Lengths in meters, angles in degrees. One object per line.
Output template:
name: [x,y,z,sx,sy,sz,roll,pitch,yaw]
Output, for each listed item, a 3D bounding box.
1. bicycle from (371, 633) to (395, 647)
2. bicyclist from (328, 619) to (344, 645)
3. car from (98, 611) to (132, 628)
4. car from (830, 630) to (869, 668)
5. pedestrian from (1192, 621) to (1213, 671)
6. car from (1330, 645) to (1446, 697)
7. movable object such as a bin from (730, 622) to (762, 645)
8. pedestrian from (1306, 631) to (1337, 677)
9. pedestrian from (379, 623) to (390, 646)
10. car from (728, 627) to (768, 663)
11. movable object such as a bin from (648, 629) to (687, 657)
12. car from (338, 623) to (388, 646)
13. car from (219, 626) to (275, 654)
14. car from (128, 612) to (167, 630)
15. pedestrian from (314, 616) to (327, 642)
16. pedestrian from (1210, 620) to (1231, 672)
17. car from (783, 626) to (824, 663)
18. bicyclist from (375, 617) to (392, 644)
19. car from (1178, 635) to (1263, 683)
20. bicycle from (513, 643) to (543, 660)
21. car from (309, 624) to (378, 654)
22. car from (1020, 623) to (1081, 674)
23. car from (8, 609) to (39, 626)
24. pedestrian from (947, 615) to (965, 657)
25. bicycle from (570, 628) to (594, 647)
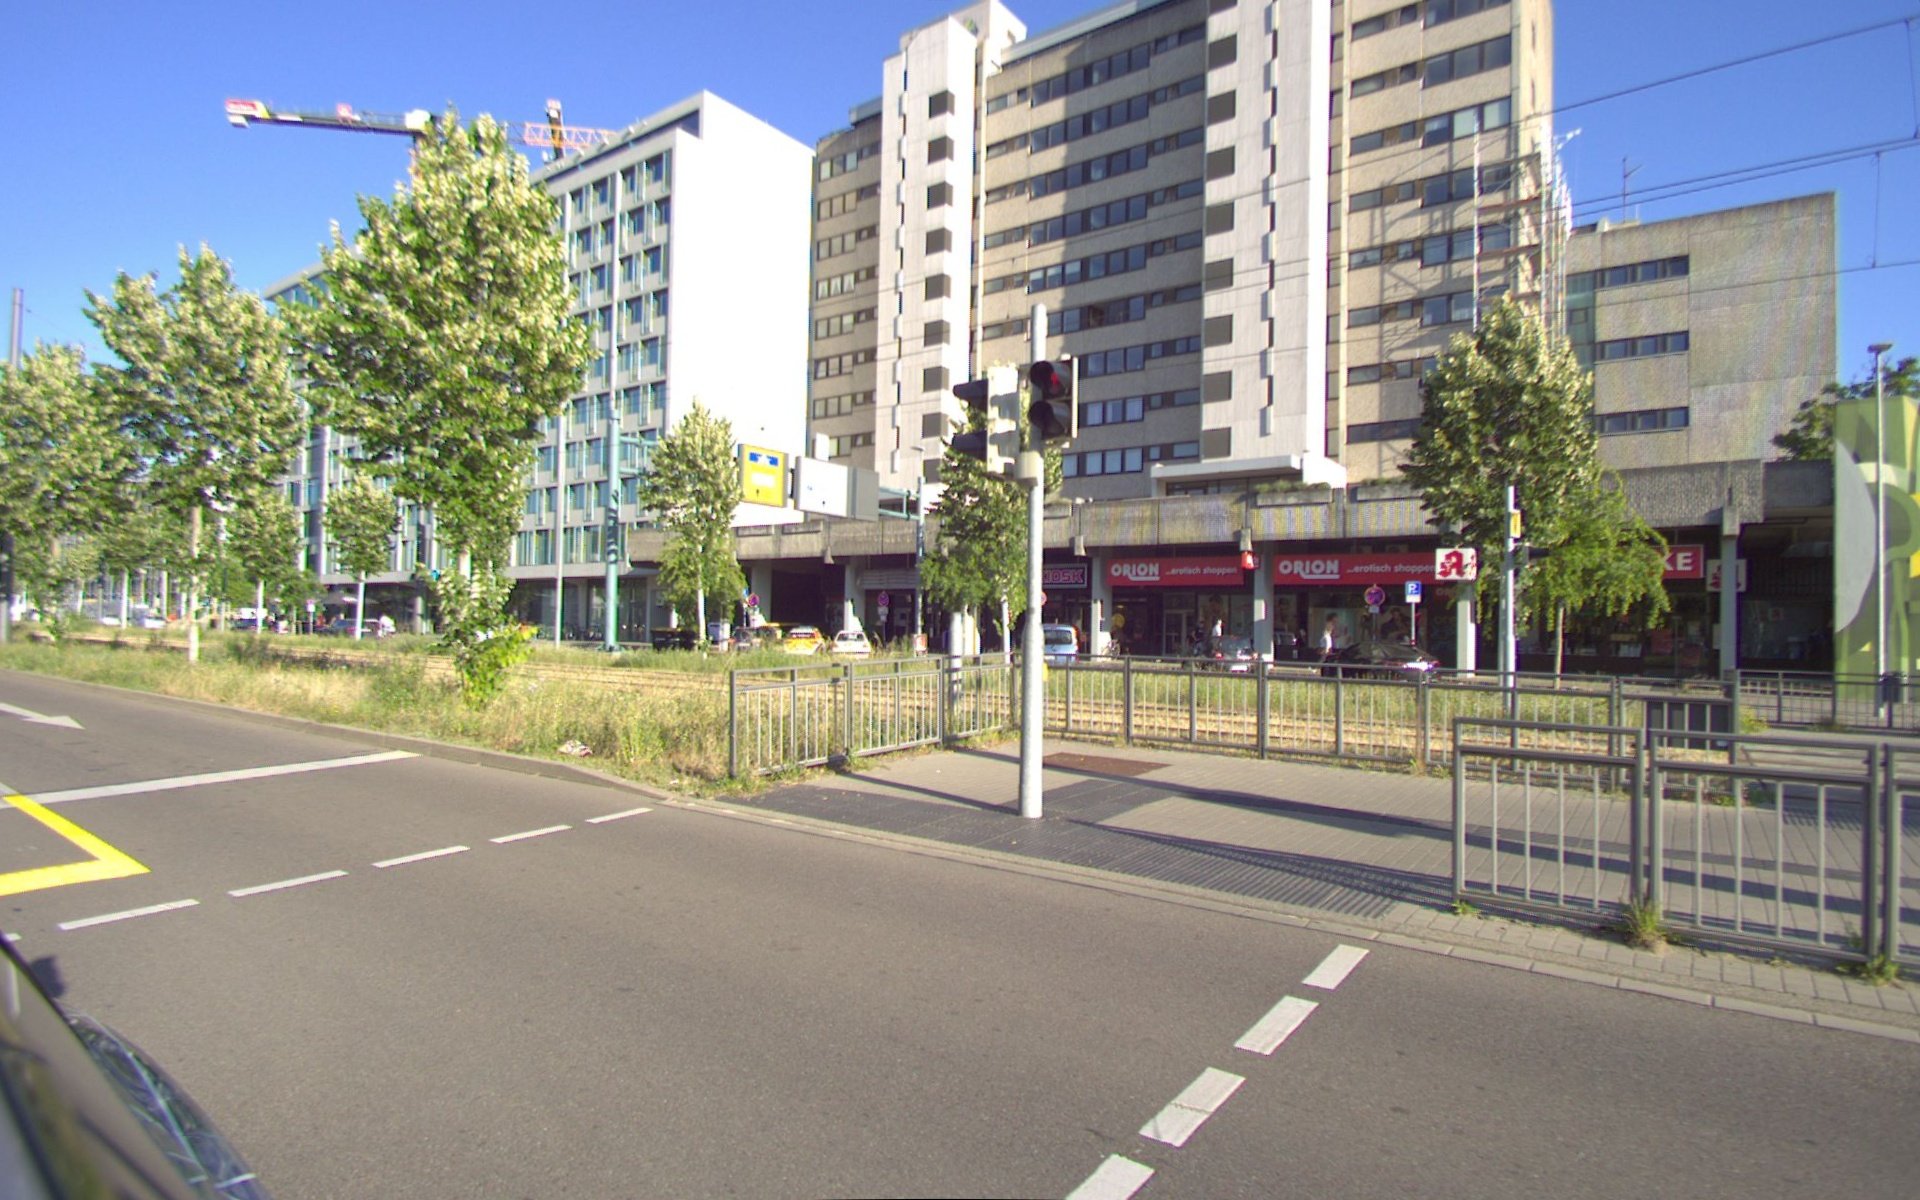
bicycle: [-36.484,2.541,63.965,2.098,0.869,0.432,0,-3,35]
bicyclist: [-40.647,2.079,65.898,0.917,1.669,0.533,0,-3,35]
car: [-83.111,1.886,99.505,3.477,1.603,1.852,0,0,37]
car: [-4.793,2.058,43.583,1.596,1.455,3.799,0,0,-7]
pedestrian: [10.005,1.878,41.736,0.653,2.029,0.542,-1,-2,36]
car: [12.472,2.035,29.743,1.596,1.283,3.472,0,0,-7]
movable object such as a bin: [-12.655,1.971,59.787,1.231,1.344,1.374,-1,-2,35]
pedestrian: [13.042,1.937,36.520,0.881,1.652,0.767,0,-2,36]
pedestrian: [-42.405,2.535,74.543,0.596,1.648,0.473,-1,-3,37]
car: [-9.850,2.053,47.343,1.595,1.455,4.556,0,0,-9]
movable object such as a bin: [-14.367,2.110,49.704,1.169,1.382,1.374,-1,-2,35]
car: [-41.493,2.349,70.355,3.384,1.477,1.852,0,0,37]
car: [-48.501,2.713,68.845,4.480,1.715,1.852,0,0,37]
car: [-67.332,1.712,83.866,3.873,1.388,1.594,0,0,37]
pedestrian: [-50.992,2.323,80.691,0.724,2.029,0.614,-1,-3,37]
pedestrian: [10.294,1.813,39.997,0.653,2.029,0.542,-1,-2,36]
car: [-6.980,1.958,45.119,1.761,1.455,3.809,0,0,-9]
bicyclist: [-36.448,1.940,63.970,0.917,1.669,0.533,0,-3,35]
car: [8.741,1.956,34.182,1.596,1.413,3.472,0,0,-7]
bicycle: [-22.902,2.733,53.652,2.098,0.869,0.432,0,-3,35]
car: [-35.743,2.223,58.639,4.631,1.600,1.852,0,0,37]
car: [3.308,1.739,37.642,1.597,1.703,4.201,0,0,-4]
car: [-102.198,1.891,110.448,3.786,1.765,1.852,0,0,37]
pedestrian: [-0.204,1.745,49.436,0.653,2.029,0.542,-1,-2,36]
bicycle: [-25.057,2.503,67.059,1.711,1.239,0.391,0,-2,28]
